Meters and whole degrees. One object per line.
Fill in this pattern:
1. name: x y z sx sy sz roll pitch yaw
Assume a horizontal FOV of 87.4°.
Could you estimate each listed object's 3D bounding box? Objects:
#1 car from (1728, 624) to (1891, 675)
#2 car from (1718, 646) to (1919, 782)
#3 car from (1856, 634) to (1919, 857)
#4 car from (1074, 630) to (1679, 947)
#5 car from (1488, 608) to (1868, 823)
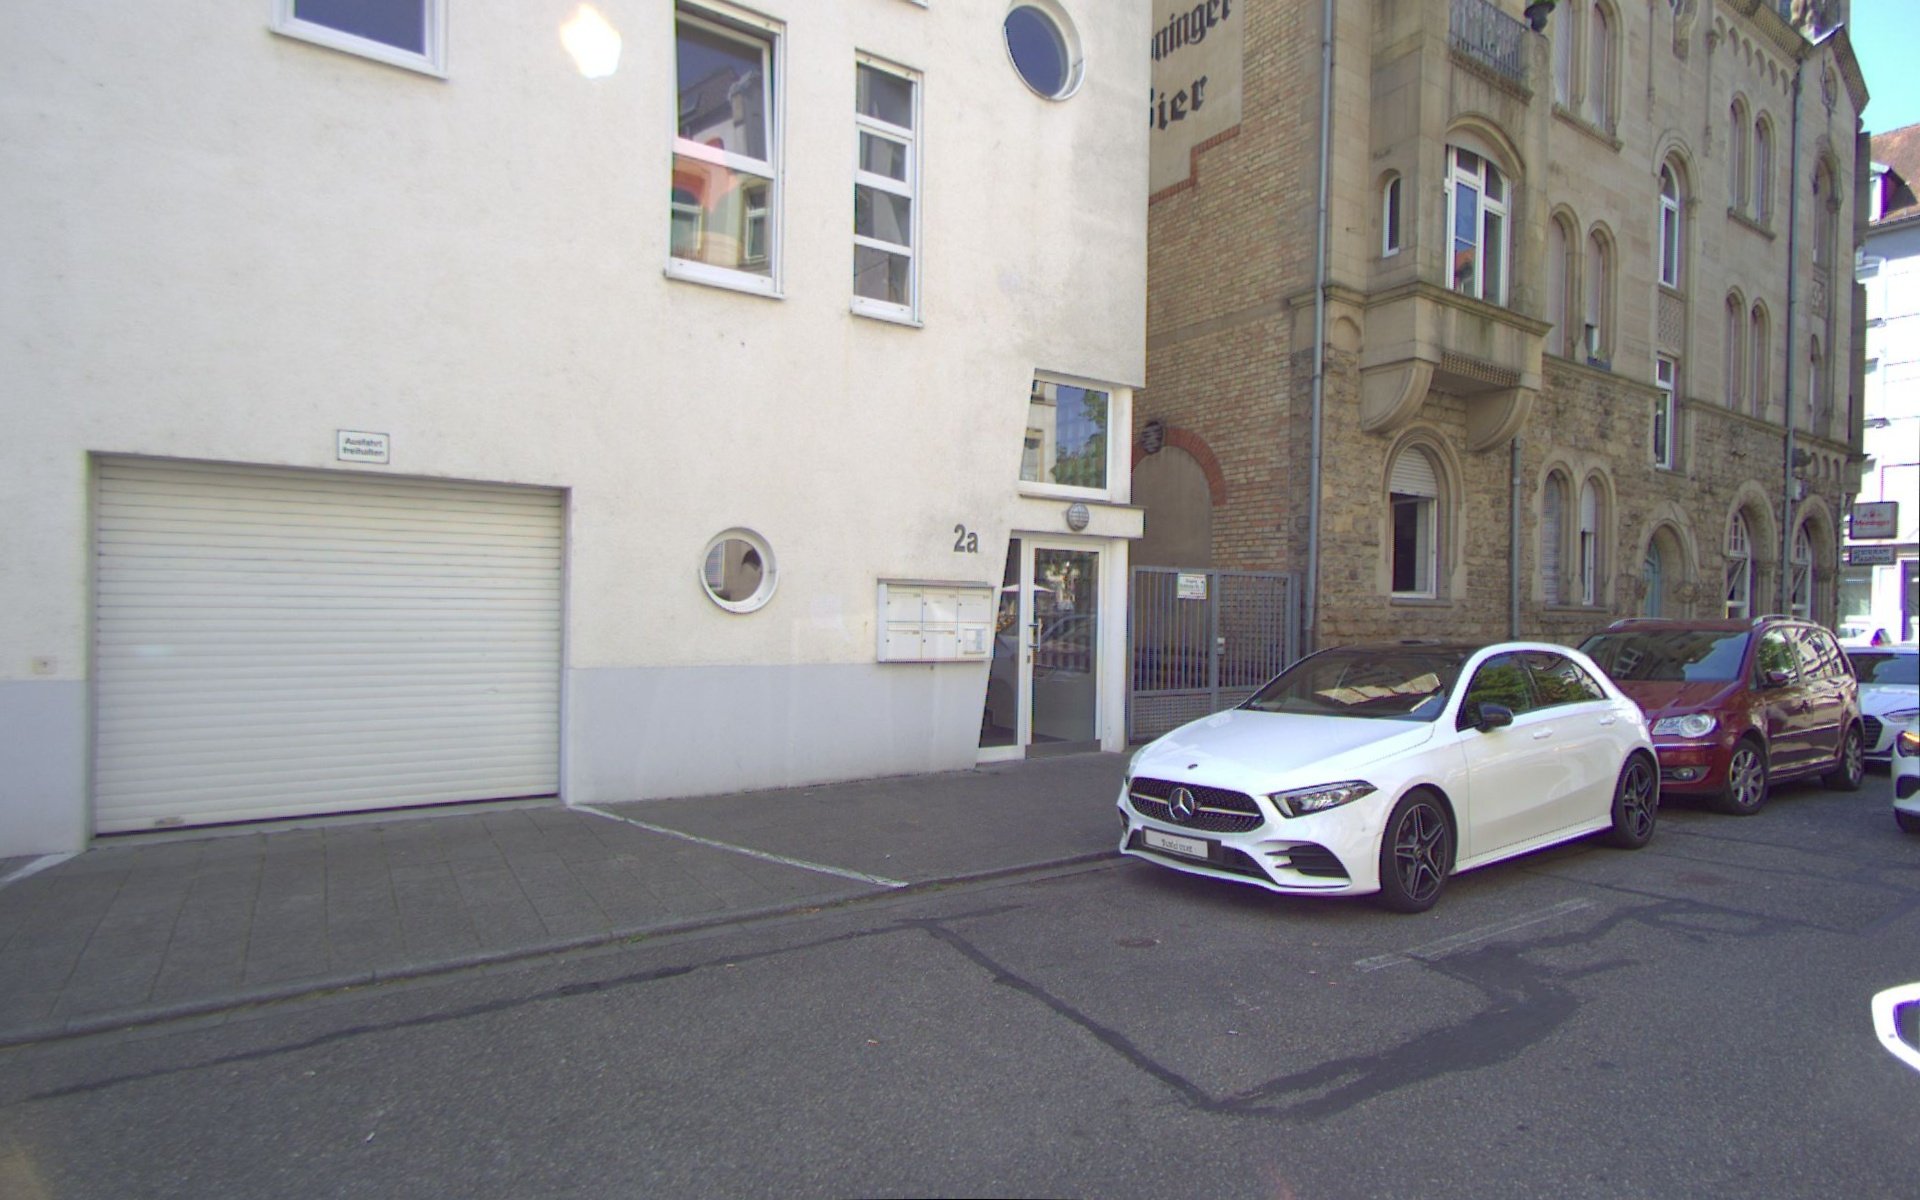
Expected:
1. car: 29.387 1.676 34.864 1.788 1.583 4.021 2 -1 -34
2. car: 11.055 1.253 12.227 4.472 1.370 1.690 2 -3 -36
3. car: 8.496 1.005 7.391 4.317 1.480 1.830 2 -3 -34
4. car: 2.915 0.966 6.677 4.237 1.479 1.765 2 -3 -36
5. car: 6.782 0.942 9.366 4.013 1.603 1.661 2 -3 -35
